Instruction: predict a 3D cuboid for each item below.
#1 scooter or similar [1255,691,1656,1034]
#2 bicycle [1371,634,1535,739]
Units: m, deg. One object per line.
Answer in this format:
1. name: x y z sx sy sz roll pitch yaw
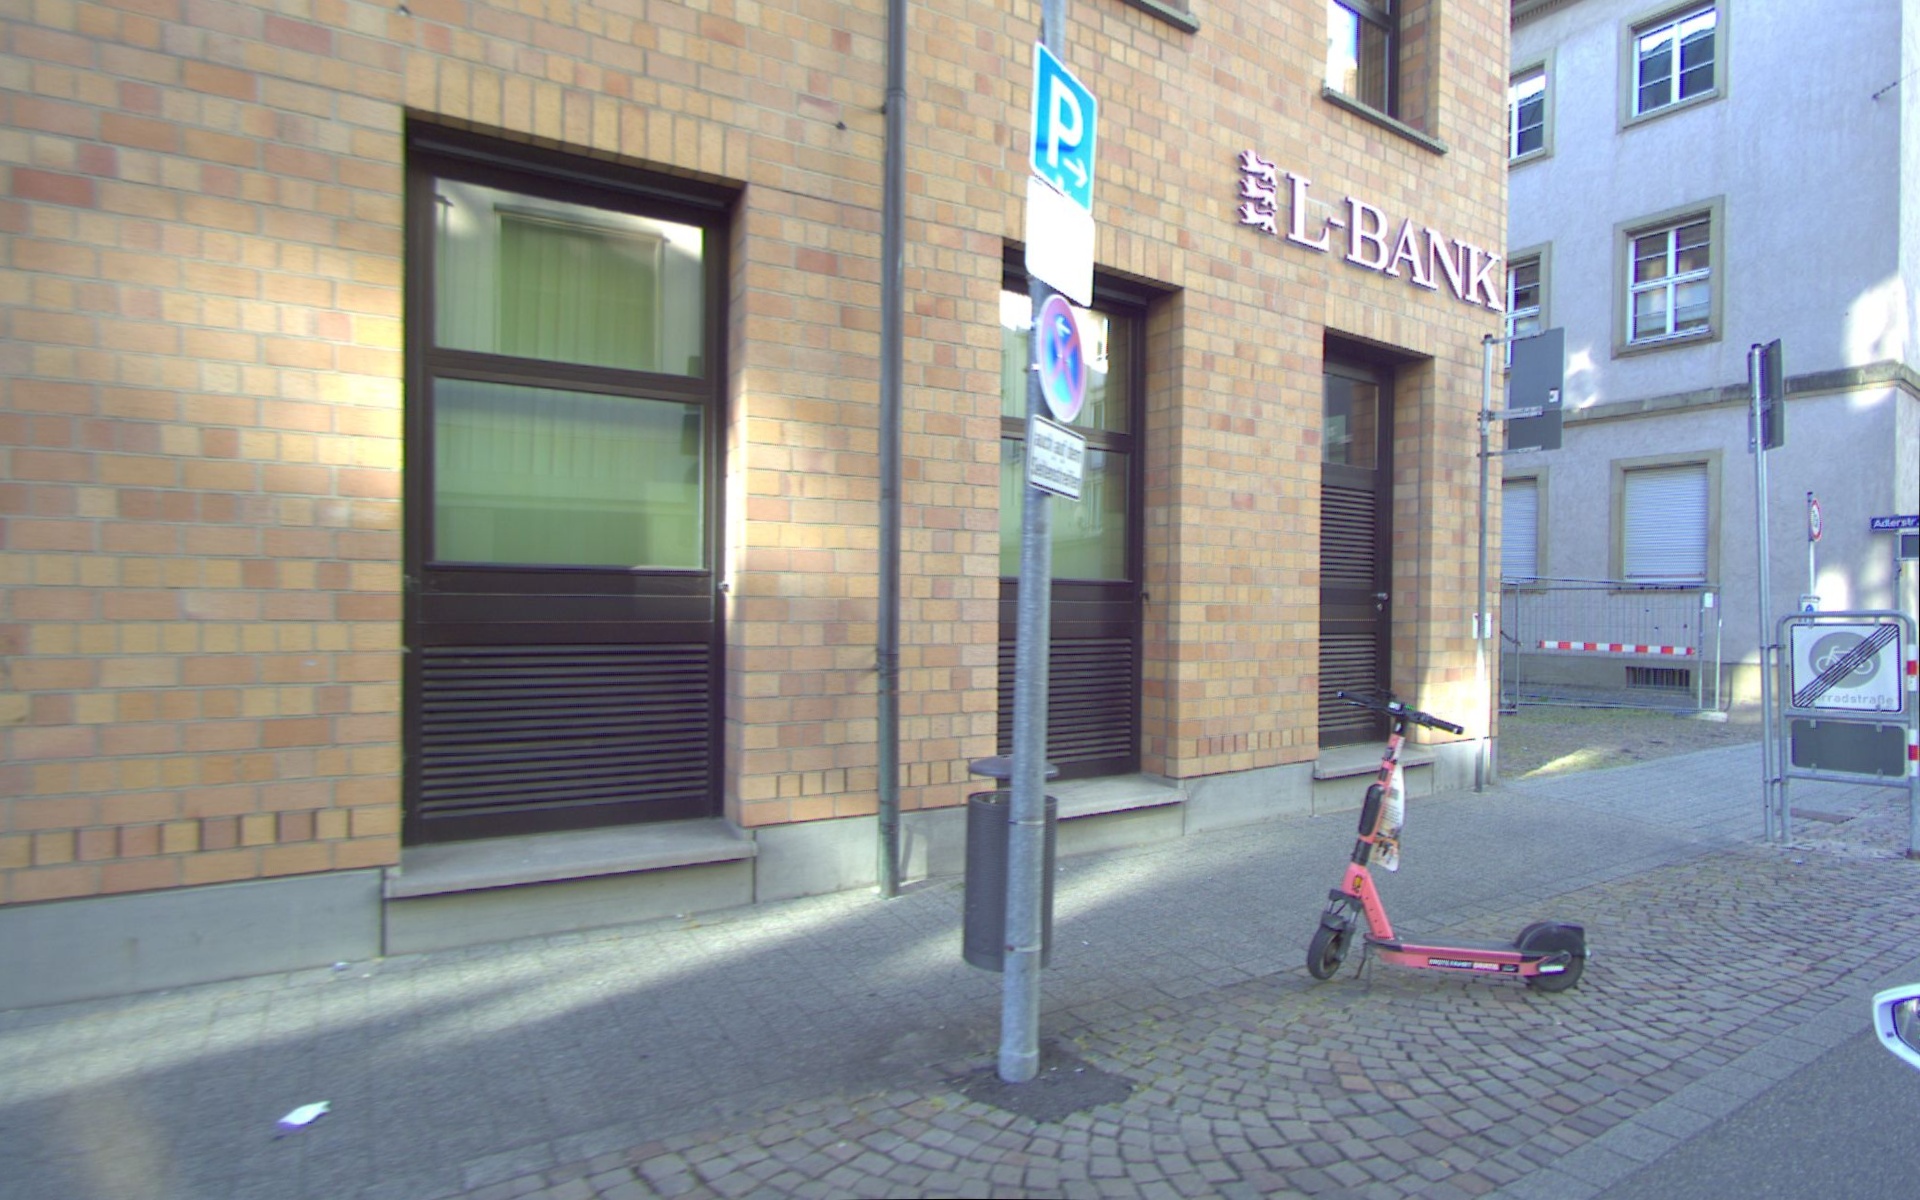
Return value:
1. scooter or similar: 2.002 1.026 4.185 1.331 1.233 0.700 0 0 -3
2. bicycle: 6.155 1.051 12.573 1.745 1.217 0.808 1 1 -17
